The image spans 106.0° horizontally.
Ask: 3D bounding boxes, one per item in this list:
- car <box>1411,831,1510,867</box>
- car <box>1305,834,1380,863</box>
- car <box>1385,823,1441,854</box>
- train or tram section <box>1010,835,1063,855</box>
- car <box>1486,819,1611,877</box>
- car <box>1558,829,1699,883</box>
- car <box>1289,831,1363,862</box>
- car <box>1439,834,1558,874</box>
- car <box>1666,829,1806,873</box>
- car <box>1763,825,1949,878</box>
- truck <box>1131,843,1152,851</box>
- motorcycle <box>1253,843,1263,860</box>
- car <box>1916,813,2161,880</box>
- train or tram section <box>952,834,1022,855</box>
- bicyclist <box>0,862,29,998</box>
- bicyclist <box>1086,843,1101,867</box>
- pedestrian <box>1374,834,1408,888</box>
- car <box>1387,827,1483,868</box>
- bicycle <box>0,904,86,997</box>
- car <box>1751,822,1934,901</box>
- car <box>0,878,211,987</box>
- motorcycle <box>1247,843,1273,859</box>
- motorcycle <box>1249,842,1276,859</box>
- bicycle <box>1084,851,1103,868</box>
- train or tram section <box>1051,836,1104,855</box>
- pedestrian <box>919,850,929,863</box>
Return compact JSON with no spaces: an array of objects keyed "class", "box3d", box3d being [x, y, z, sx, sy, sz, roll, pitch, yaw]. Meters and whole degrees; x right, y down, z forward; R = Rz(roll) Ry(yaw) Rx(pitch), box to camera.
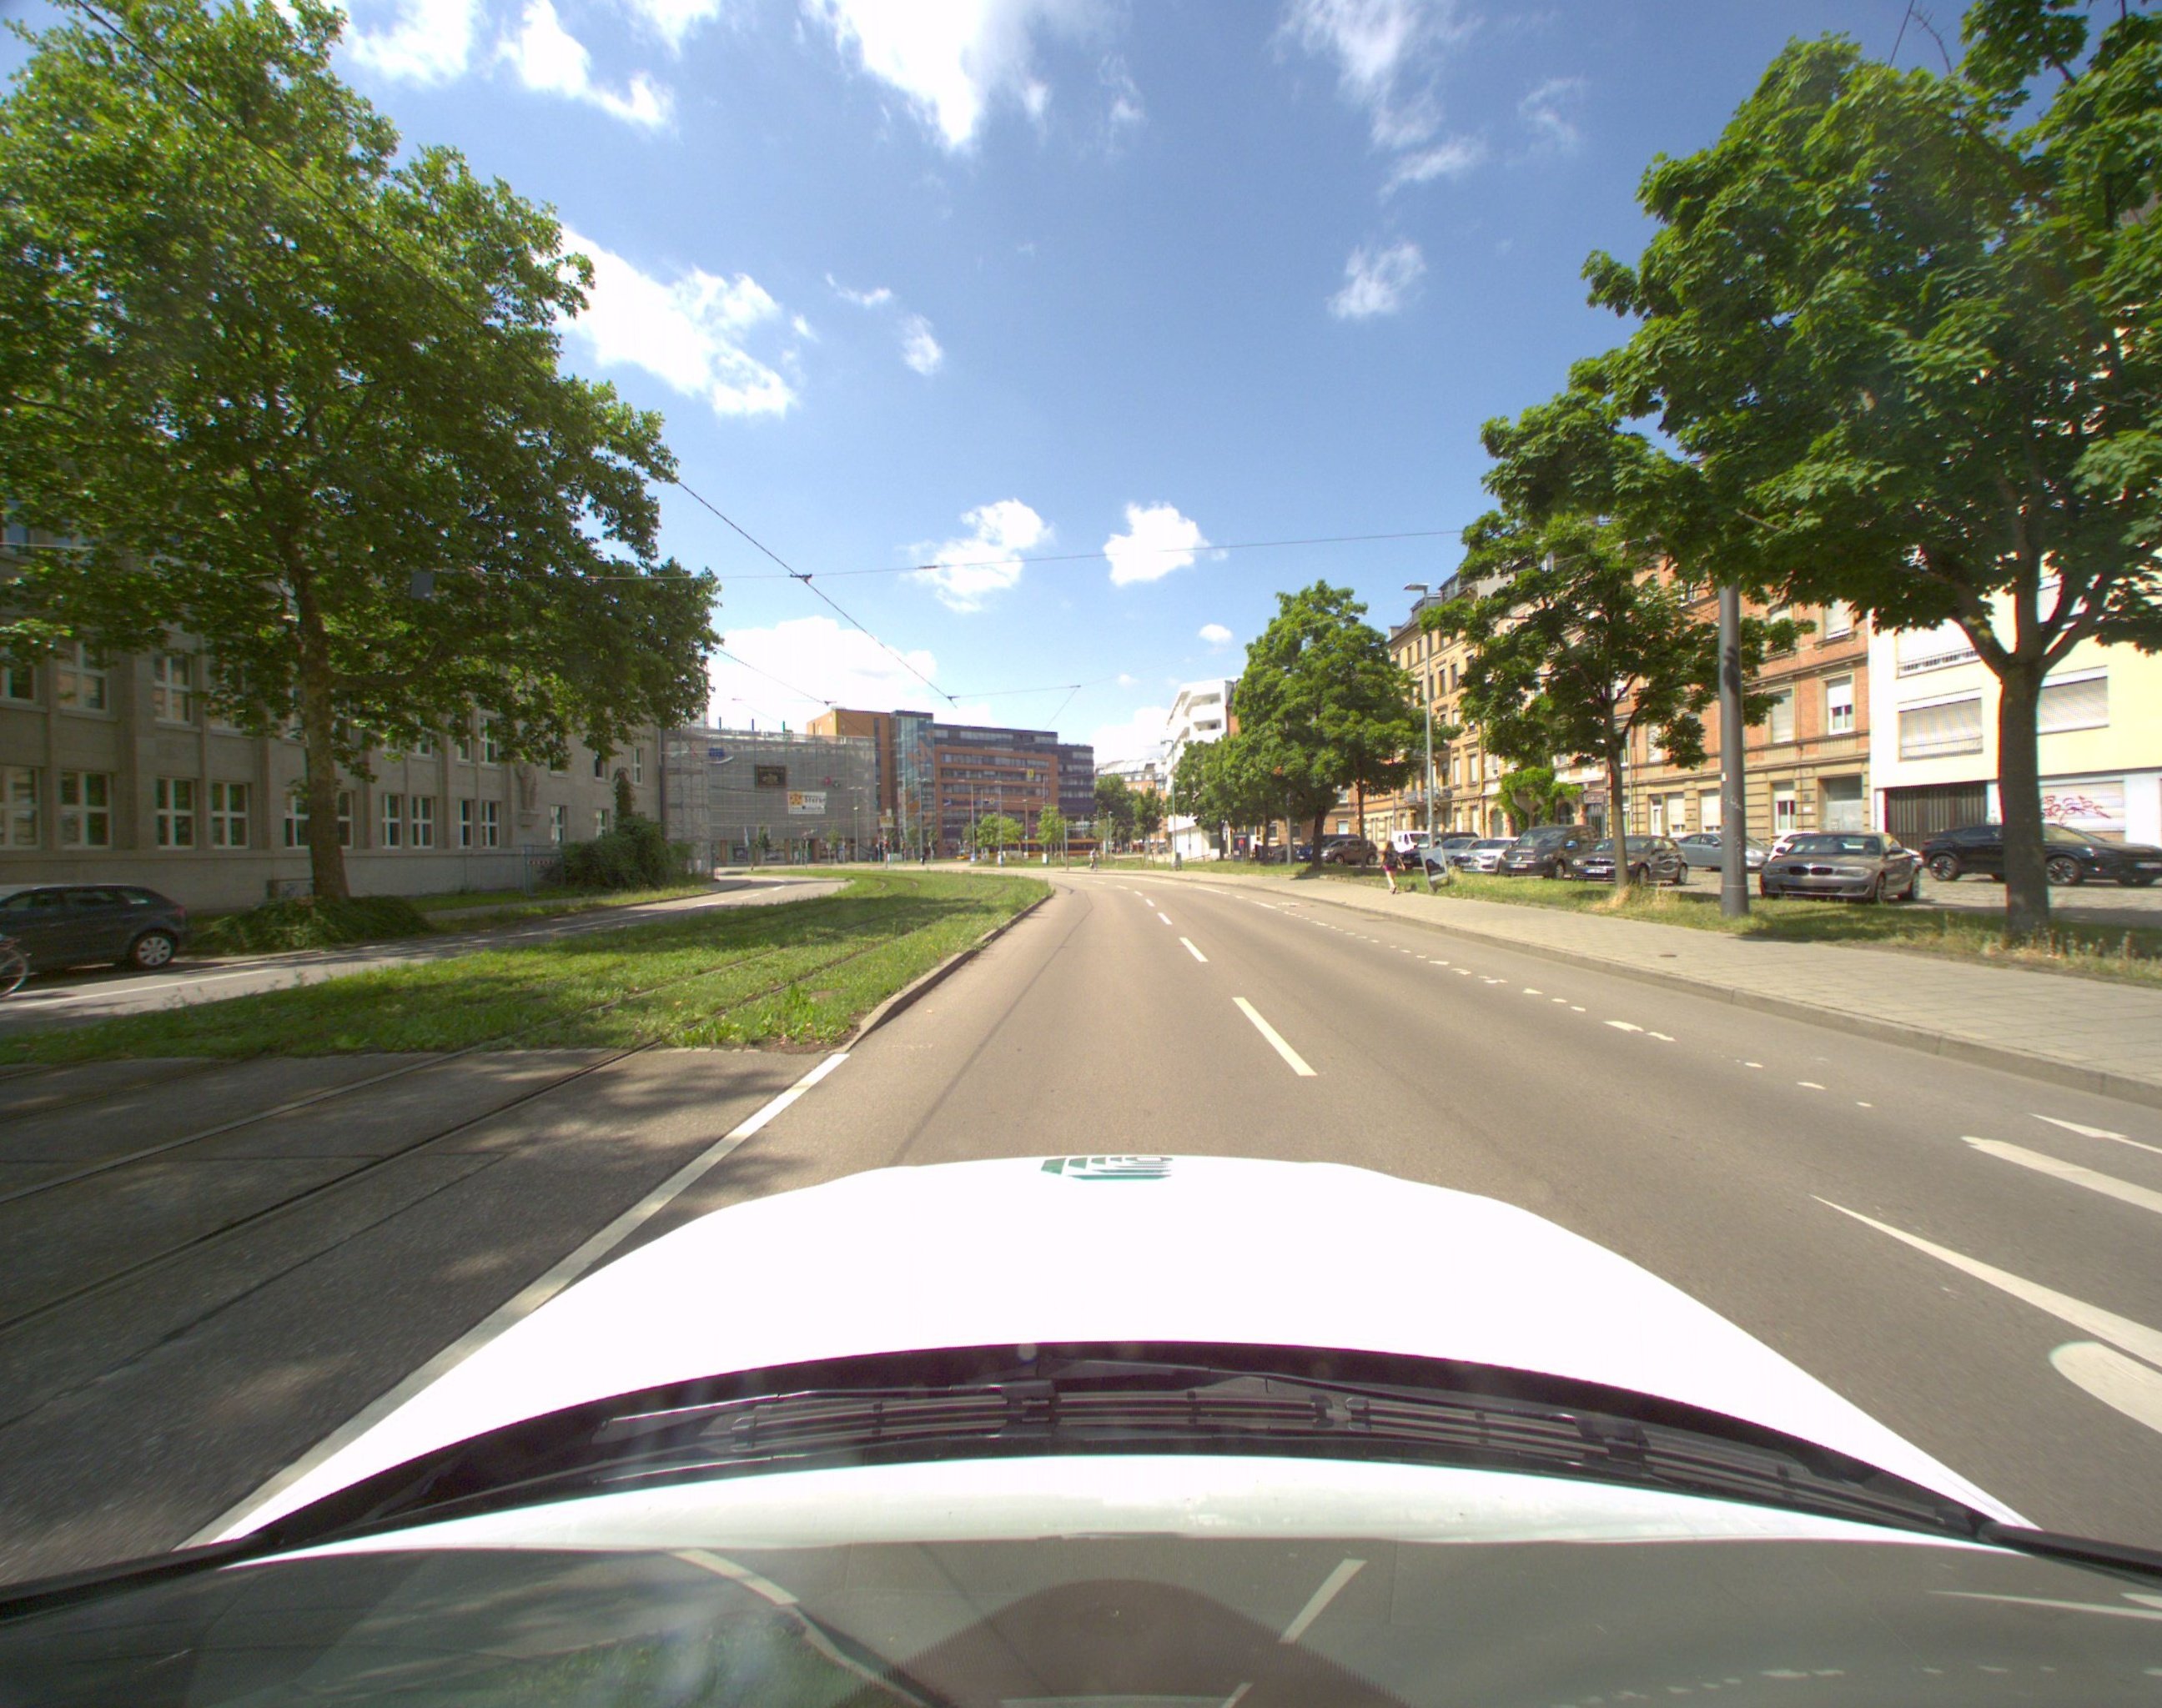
[{"class":"car","box3d":[15.710,-0.211,33.665,4.101,1.405,1.833,0,0,-34]},{"class":"car","box3d":[15.828,-0.325,49.353,4.182,1.656,1.901,0,0,-26]},{"class":"car","box3d":[24.301,-1.079,59.836,2.103,2.178,5.396,0,0,2]},{"class":"train or tram section","box3d":[-8.214,-1.624,152.367,3.026,3.603,11.060,0,0,42]},{"class":"car","box3d":[15.284,-0.197,26.549,4.384,1.741,1.832,0,0,-35]},{"class":"car","box3d":[15.278,0.051,22.670,4.287,1.380,1.832,0,0,-35]},{"class":"car","box3d":[15.784,-0.463,52.345,4.643,1.927,1.898,0,0,-30]},{"class":"car","box3d":[15.548,-0.008,30.276,4.711,1.380,1.833,0,0,-33]},{"class":"car","box3d":[23.772,-0.101,29.781,1.825,1.491,4.229,0,0,2]},{"class":"car","box3d":[23.674,-0.086,25.129,1.825,1.491,4.229,0,0,2]},{"class":"truck","box3d":[16.086,-1.950,215.827,5.453,2.086,2.012,0,0,41]},{"class":"motorcycle","box3d":[12.494,-0.217,57.484,0.633,1.167,1.914,-1,0,14]},{"class":"car","box3d":[23.786,-0.172,20.242,1.825,1.491,4.229,0,0,2]},{"class":"train or tram section","box3d":[-16.358,-1.644,143.406,3.186,3.599,13.583,0,0,42]},{"class":"bicyclist","box3d":[-13.983,0.957,10.122,0.760,1.704,0.782,0,0,-5]},{"class":"bicyclist","box3d":[0.977,0.103,63.314,0.698,1.824,0.948,-4,1,-25]},{"class":"pedestrian","box3d":[9.205,0.209,24.211,0.698,1.592,0.905,0,0,1]},{"class":"car","box3d":[15.959,-0.291,36.661,4.161,1.741,1.835,0,0,-29]},{"class":"bicycle","box3d":[-13.982,1.241,10.042,0.789,1.110,2.272,0,0,-6]},{"class":"car","box3d":[15.297,0.127,16.296,4.287,1.380,1.832,0,0,-35]},{"class":"car","box3d":[-15.723,1.124,11.636,1.920,1.369,4.317,0,1,0]},{"class":"motorcycle","box3d":[13.398,-0.256,60.961,1.777,1.167,0.640,-1,0,0]},{"class":"motorcycle","box3d":[13.395,-0.247,60.139,1.777,1.167,0.640,-1,0,0]},{"class":"bicycle","box3d":[0.955,0.443,63.412,0.697,1.242,1.824,-4,1,-24]},{"class":"train or tram section","box3d":[-0.555,-1.588,161.380,3.026,3.621,12.715,0,0,40]},{"class":"pedestrian","box3d":[-20.544,0.315,106.672,0.907,1.702,0.813,-2,1,26]}]
